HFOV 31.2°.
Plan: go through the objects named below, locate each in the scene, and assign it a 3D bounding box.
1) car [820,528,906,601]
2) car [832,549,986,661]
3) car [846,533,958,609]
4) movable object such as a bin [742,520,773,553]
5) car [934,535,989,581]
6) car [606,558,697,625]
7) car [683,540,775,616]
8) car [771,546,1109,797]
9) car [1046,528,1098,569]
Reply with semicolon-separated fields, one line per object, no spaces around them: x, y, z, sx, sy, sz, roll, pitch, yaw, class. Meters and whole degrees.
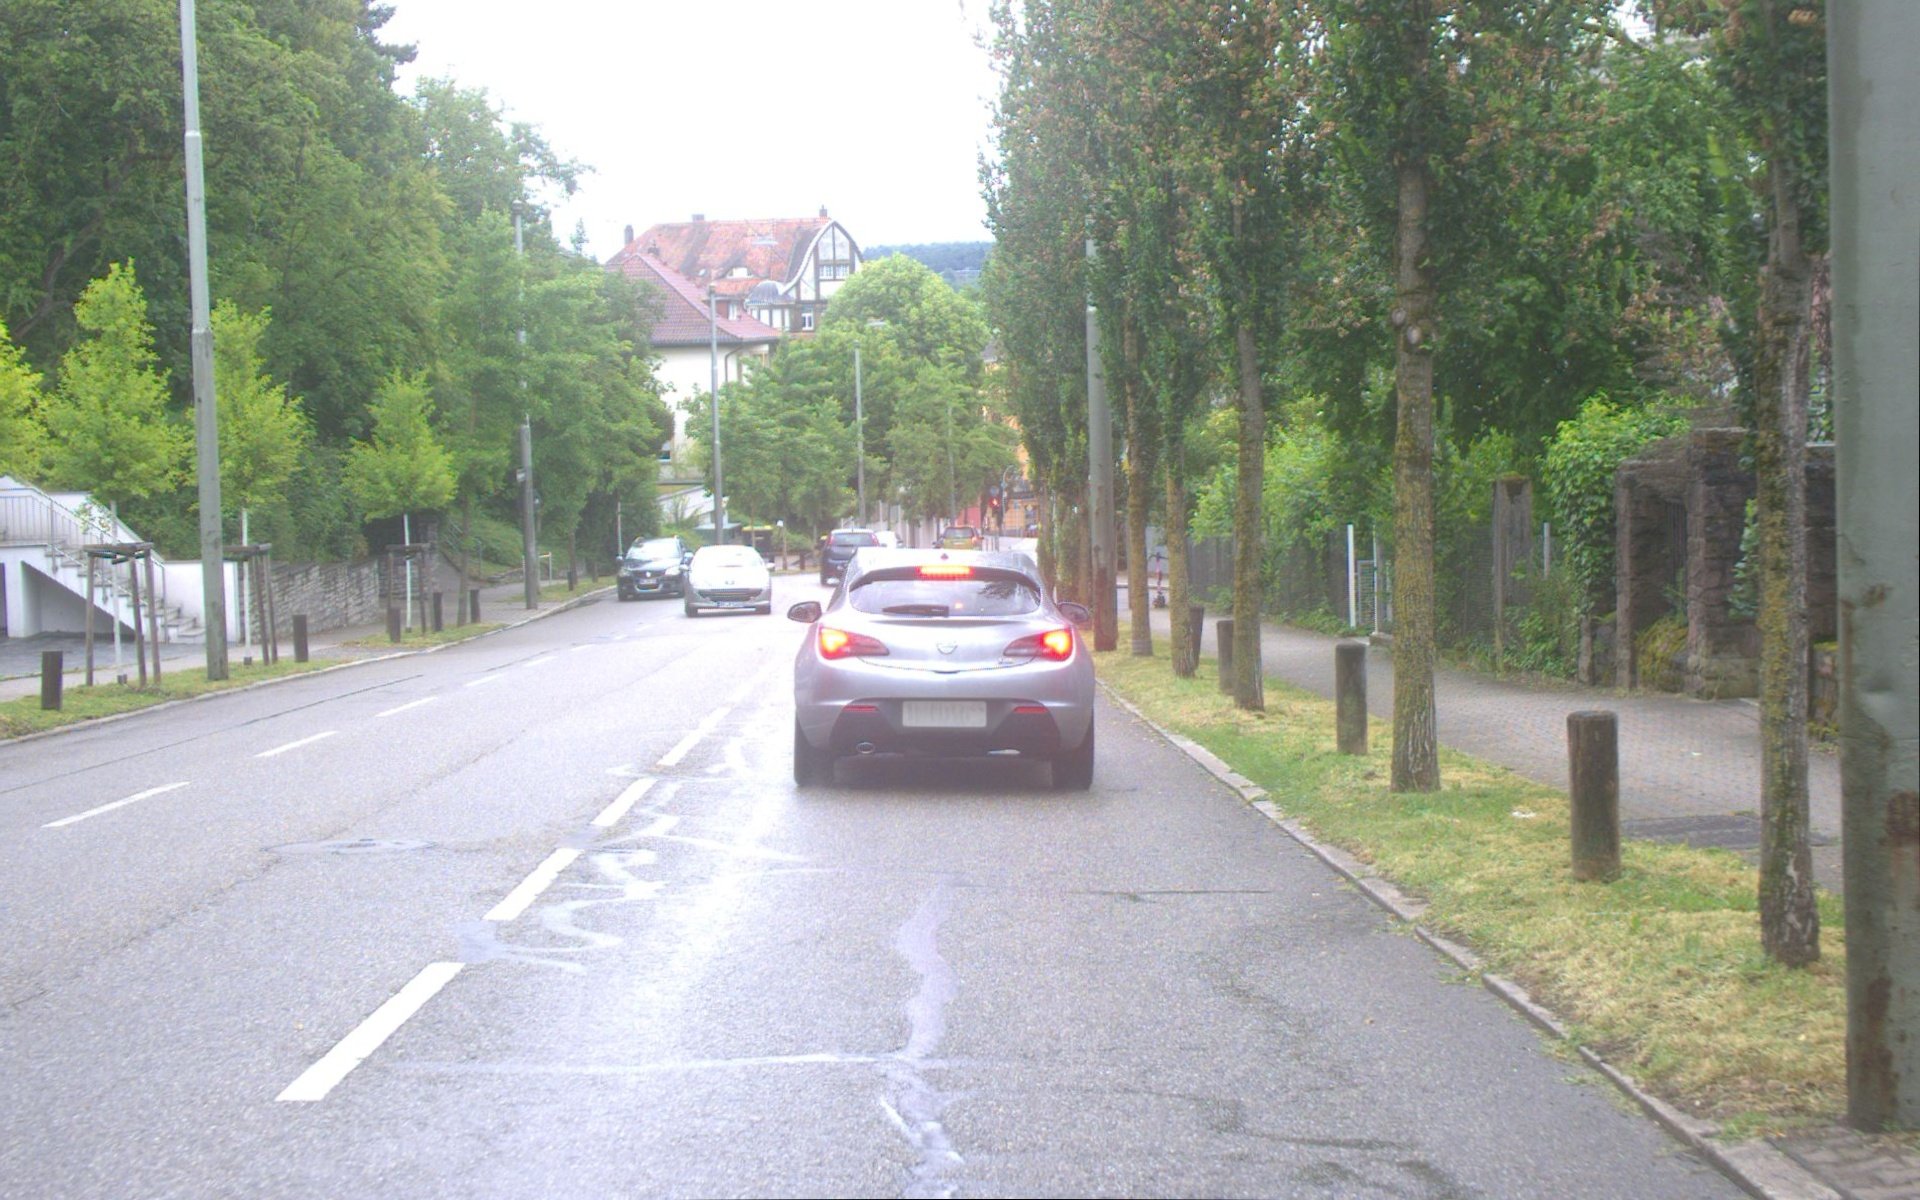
-2.540;-0.961;90.786;1.769;1.775;3.976;3;2;5;car
-0.602;0.035;43.459;1.798;1.318;4.000;1;1;1;car
-1.206;-0.645;73.707;1.961;1.467;3.950;3;2;5;car
-8.715;-2.744;147.785;1.272;1.382;0.489;1;2;5;movable object such as a bin
0.069;-1.609;132.171;1.754;1.645;3.999;3;1;5;car
-7.543;-0.219;84.301;1.745;1.544;3.918;-2;0;1;car
-4.763;-0.454;71.346;1.761;1.481;4.000;-2;0;-2;car
-0.141;0.397;22.022;1.945;1.427;3.884;1;1;-1;car
6.039;-2.787;185.446;2.334;2.029;4.734;3;2;7;car
